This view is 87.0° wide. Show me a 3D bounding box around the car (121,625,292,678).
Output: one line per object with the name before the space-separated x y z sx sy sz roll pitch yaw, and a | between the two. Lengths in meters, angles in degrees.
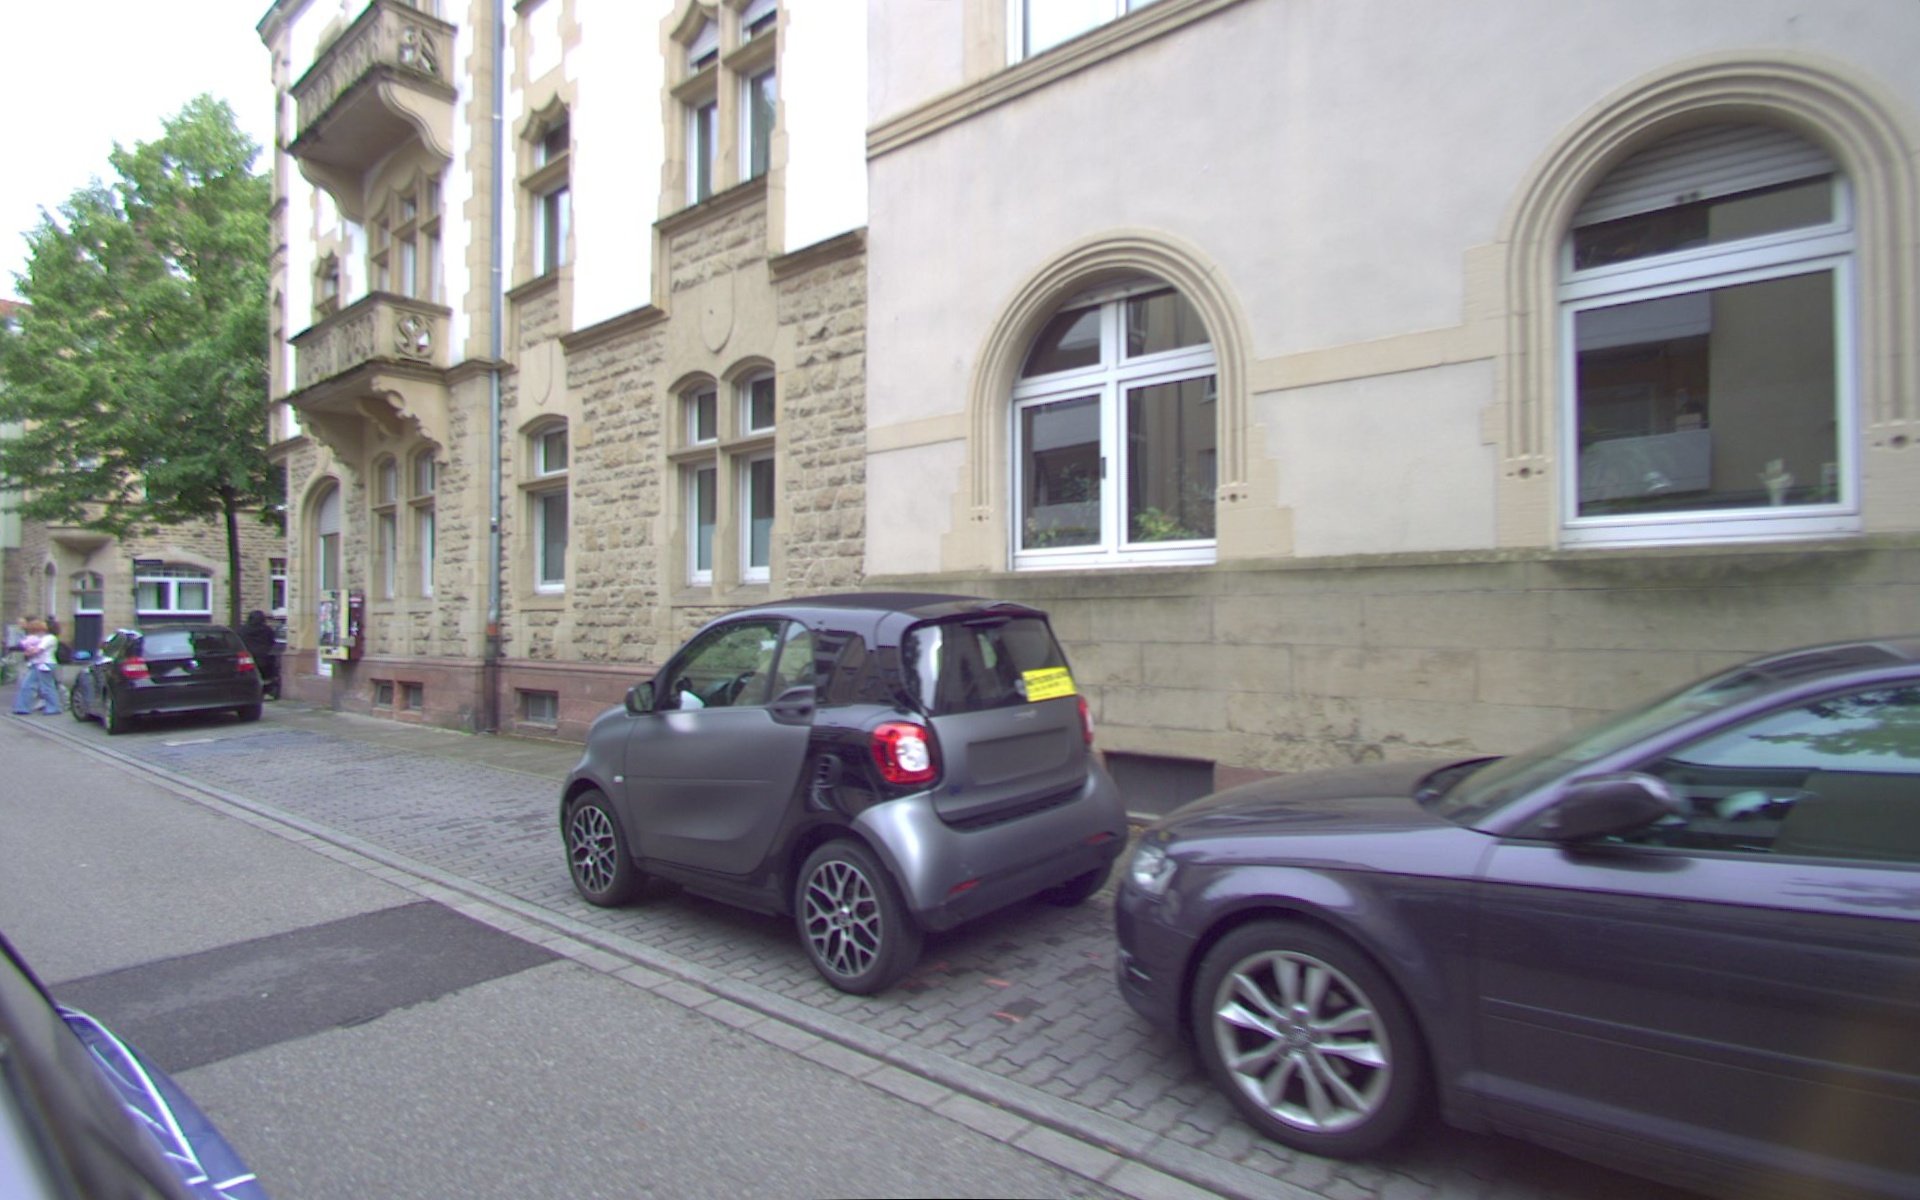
car | -24.055 1.610 32.415 4.220 1.477 1.665 2 1 -43

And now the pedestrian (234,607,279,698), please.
pedestrian | -12.229 0.902 17.586 0.546 1.530 0.510 -2 -2 40

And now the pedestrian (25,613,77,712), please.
pedestrian | -15.598 1.049 17.383 0.608 1.656 0.604 0 -1 -38

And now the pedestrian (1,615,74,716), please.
pedestrian | -15.154 1.061 16.646 0.621 1.606 0.671 -1 -1 -9

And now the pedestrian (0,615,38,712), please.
pedestrian | -16.476 1.090 17.649 0.521 1.656 0.529 -1 -1 -38

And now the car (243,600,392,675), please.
car | -18.002 1.027 28.362 3.943 1.983 1.816 -1 -2 28

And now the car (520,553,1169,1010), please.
car | -0.686 0.669 5.092 2.954 1.582 1.630 -3 -1 40

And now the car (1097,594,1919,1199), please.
car | 2.465 0.689 2.411 3.926 1.397 1.708 -2 -1 41

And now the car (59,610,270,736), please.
car | -11.550 0.957 14.602 3.999 1.506 1.691 -2 1 42
